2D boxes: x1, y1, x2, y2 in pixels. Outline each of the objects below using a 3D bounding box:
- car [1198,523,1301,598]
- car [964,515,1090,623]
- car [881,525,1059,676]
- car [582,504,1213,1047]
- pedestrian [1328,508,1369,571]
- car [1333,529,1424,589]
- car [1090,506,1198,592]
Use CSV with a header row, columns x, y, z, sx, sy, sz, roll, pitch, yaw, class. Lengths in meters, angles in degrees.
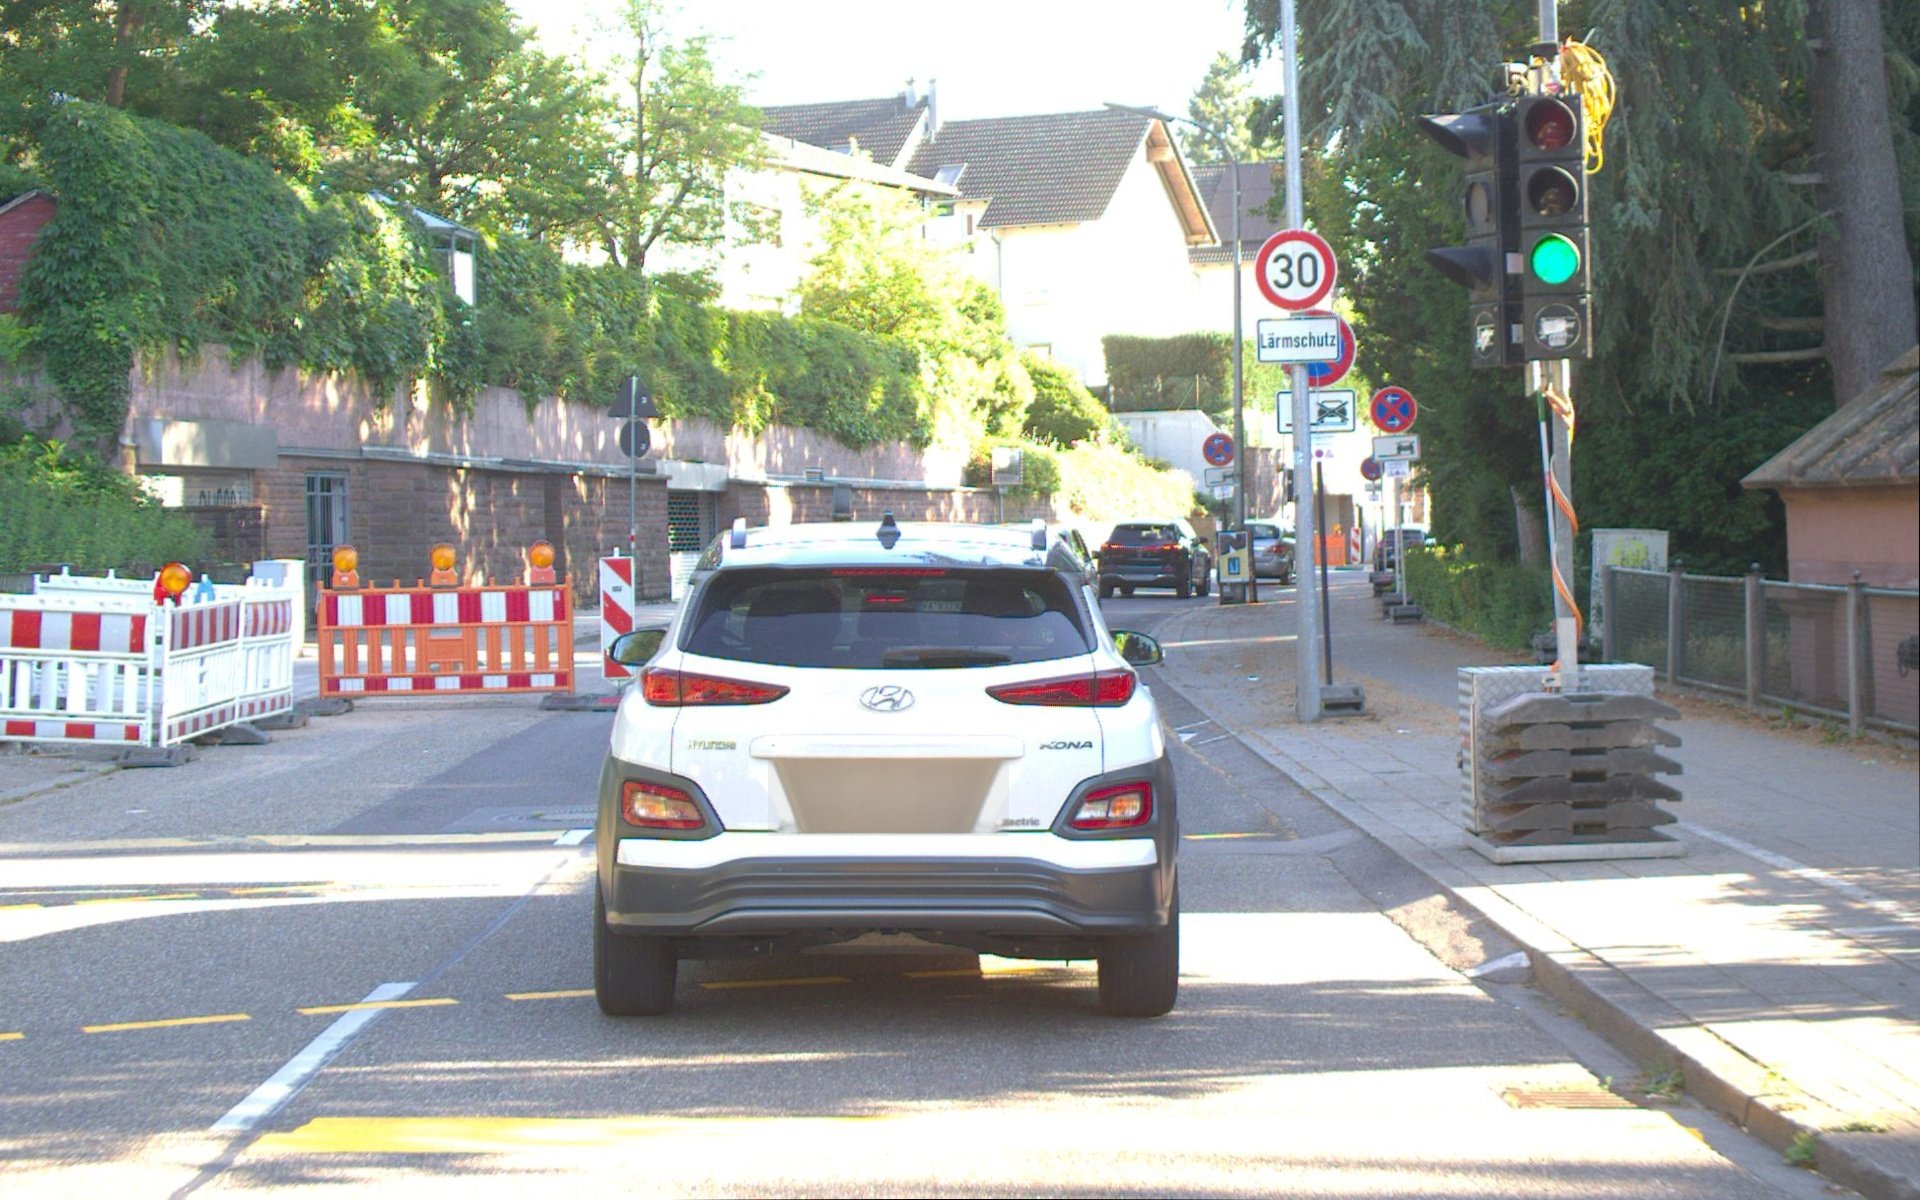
x,y,z,sx,sy,sz,roll,pitch,yaw,class
7.023,-0.968,83.171,1.833,1.735,3.998,-1,1,14,car
0.975,-0.499,51.882,1.805,1.532,4.000,1,2,0,car
0.074,-0.044,35.780,1.708,1.429,4.365,1,2,-1,car
-0.337,0.464,12.035,1.820,1.568,4.001,1,2,-5,car
11.871,-1.844,105.048,1.080,1.905,0.840,1,1,17,pedestrian
12.153,-1.203,99.621,1.833,1.656,3.997,1,2,18,car
3.747,-1.060,69.523,1.832,1.656,3.999,1,2,8,car
